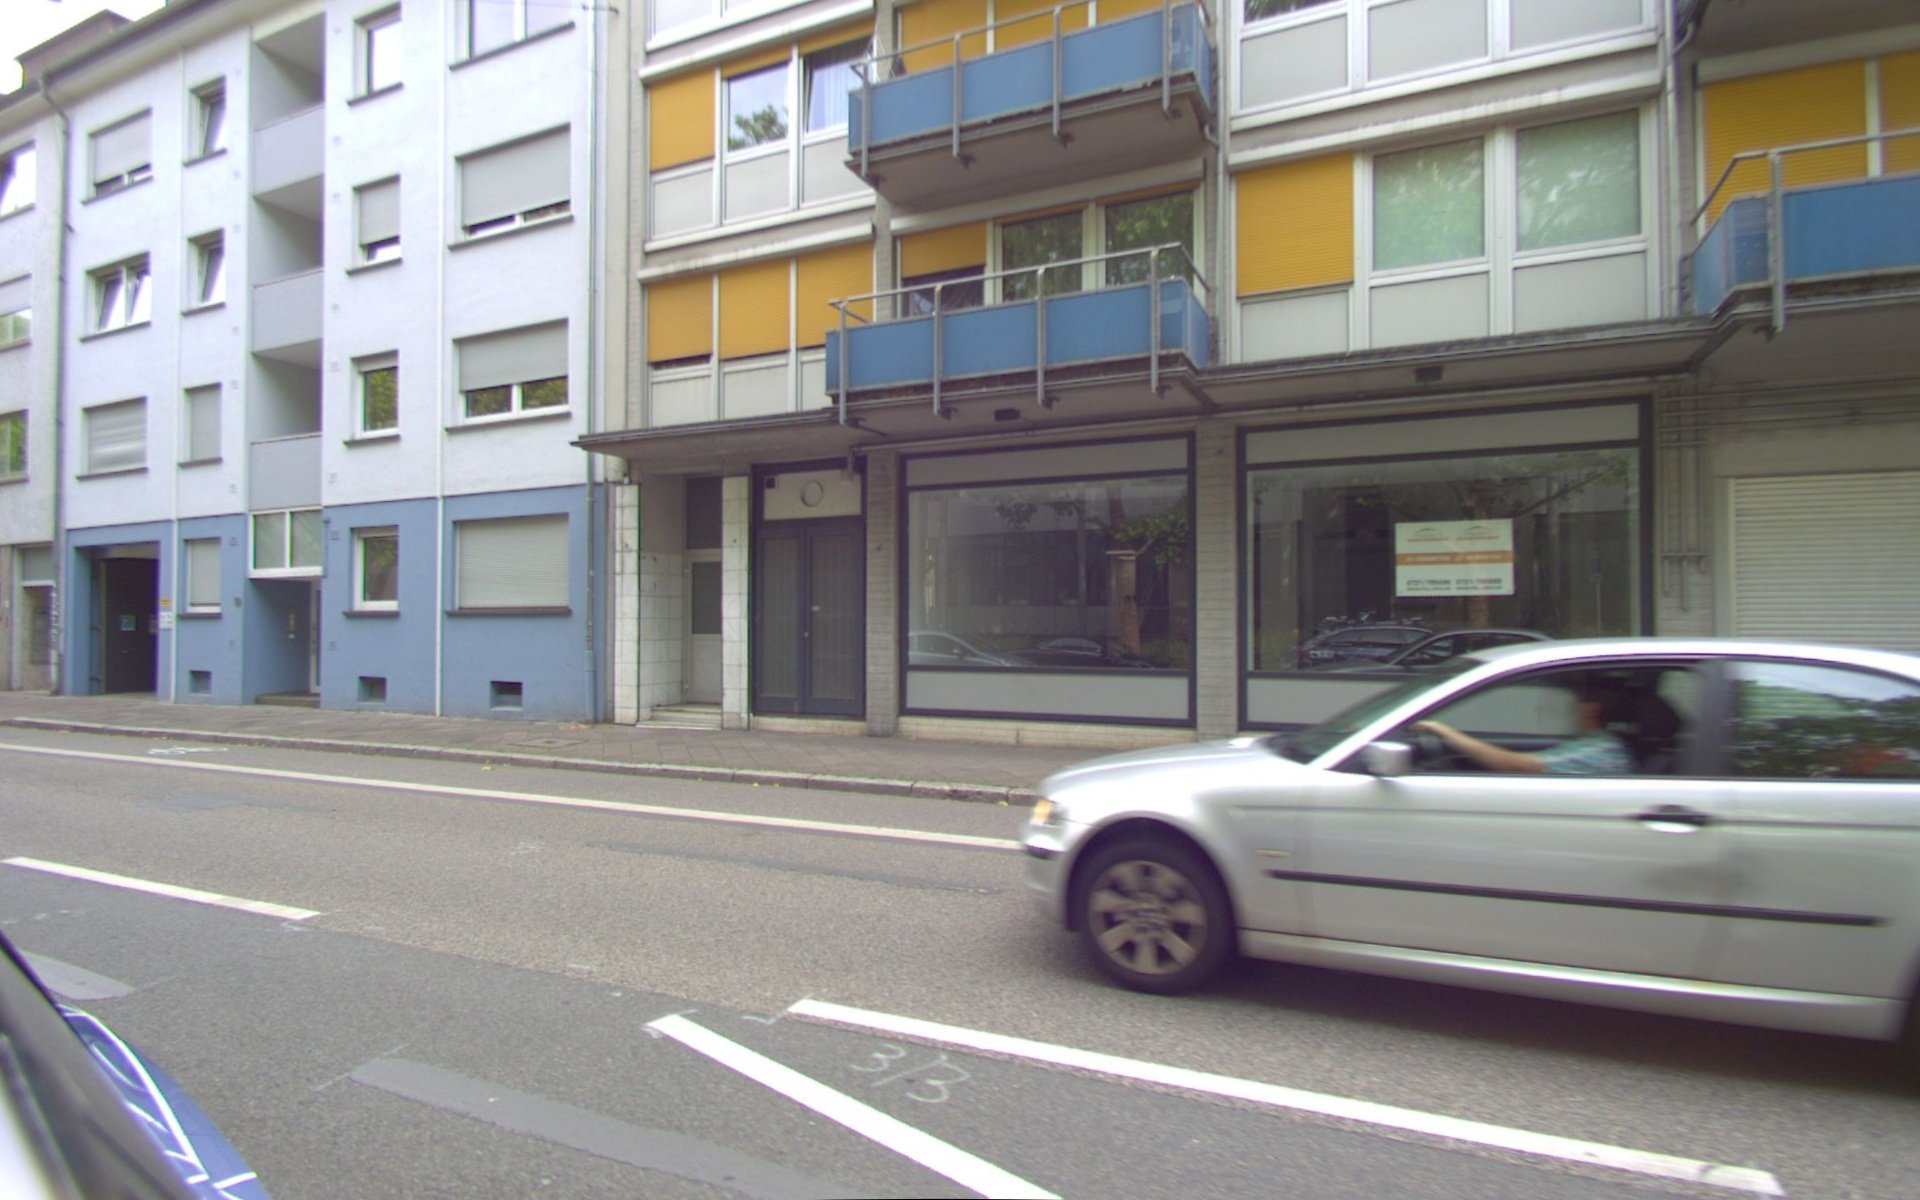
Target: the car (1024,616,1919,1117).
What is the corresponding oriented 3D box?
[{"bbox_3d":[2.458,0.819,4.043,4.074,1.438,1.748,-1,-3,25],"label":"car"}]
